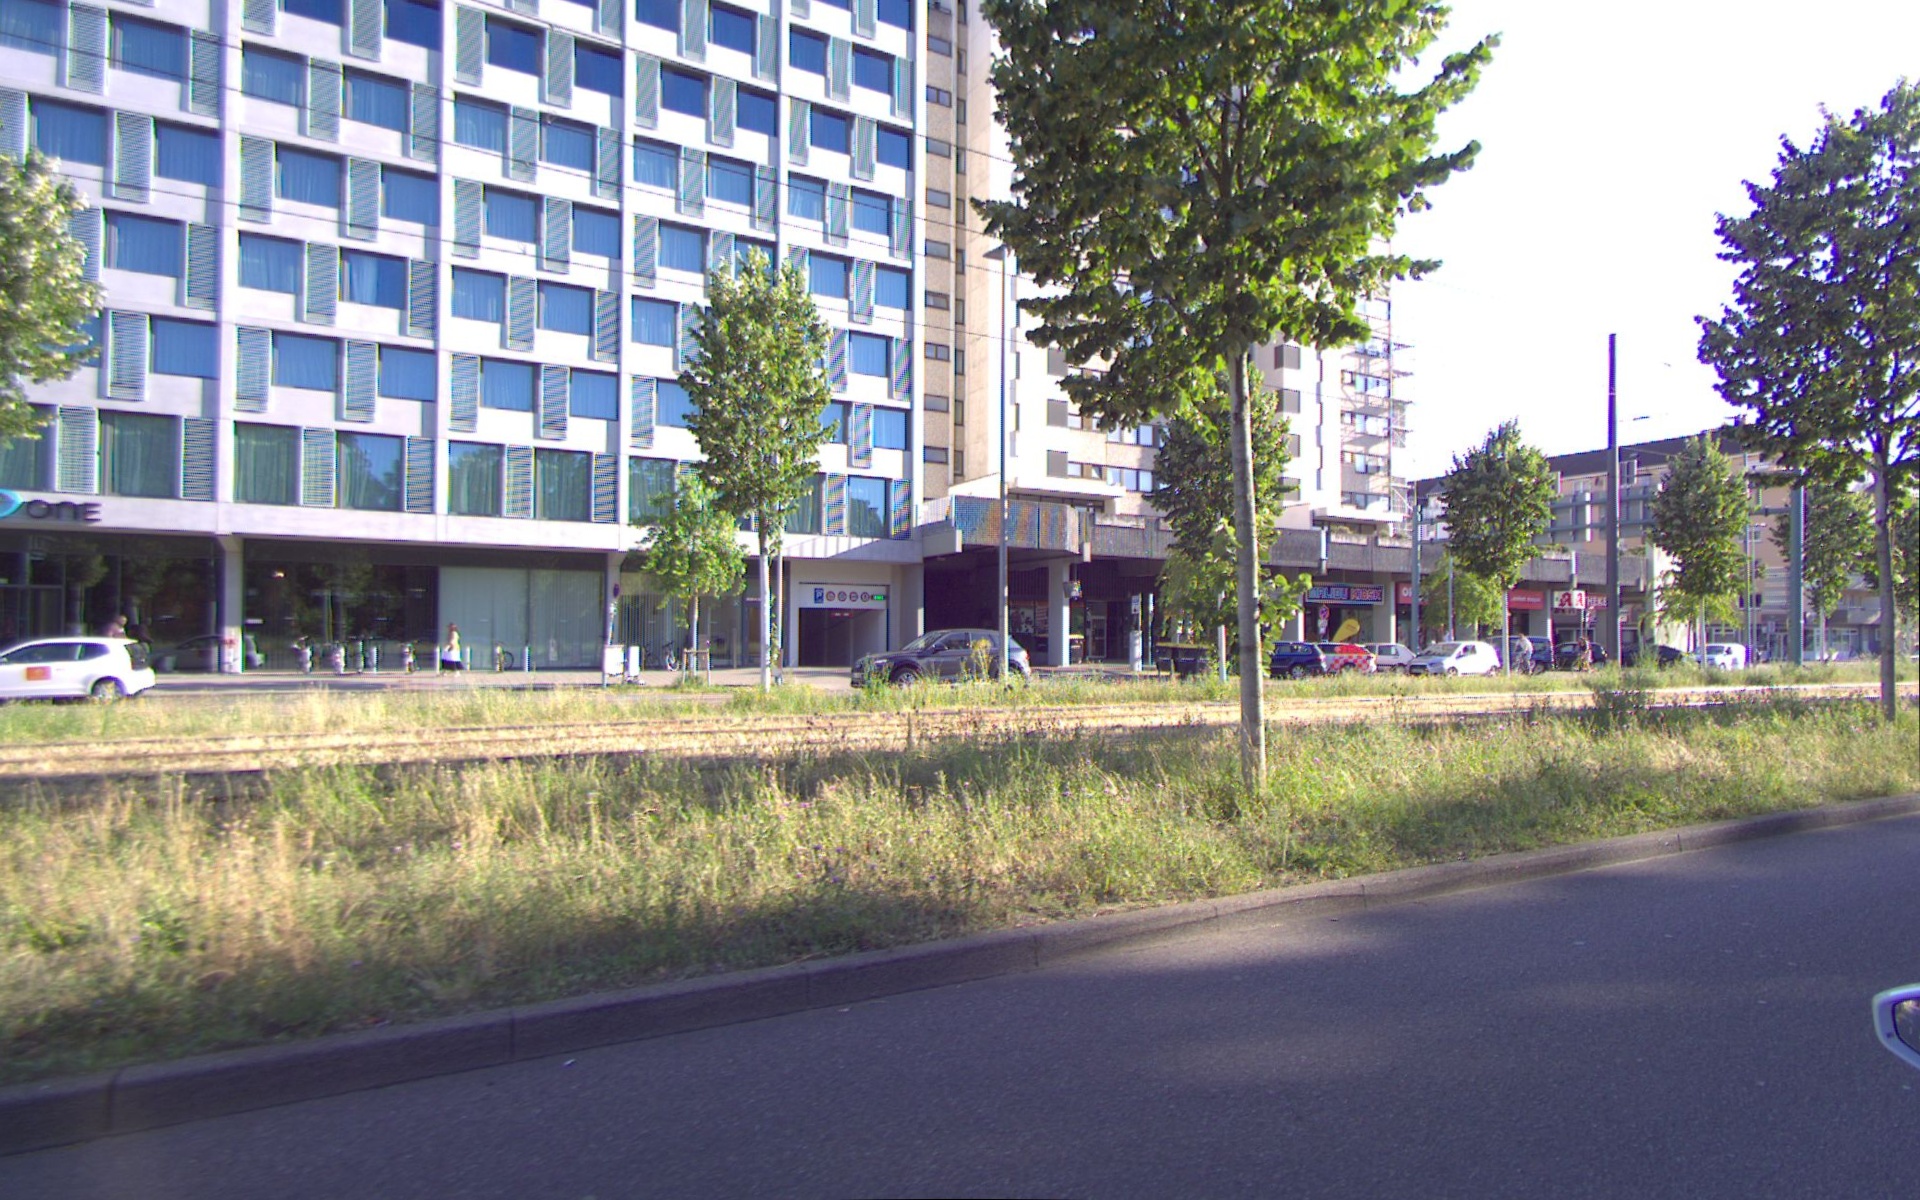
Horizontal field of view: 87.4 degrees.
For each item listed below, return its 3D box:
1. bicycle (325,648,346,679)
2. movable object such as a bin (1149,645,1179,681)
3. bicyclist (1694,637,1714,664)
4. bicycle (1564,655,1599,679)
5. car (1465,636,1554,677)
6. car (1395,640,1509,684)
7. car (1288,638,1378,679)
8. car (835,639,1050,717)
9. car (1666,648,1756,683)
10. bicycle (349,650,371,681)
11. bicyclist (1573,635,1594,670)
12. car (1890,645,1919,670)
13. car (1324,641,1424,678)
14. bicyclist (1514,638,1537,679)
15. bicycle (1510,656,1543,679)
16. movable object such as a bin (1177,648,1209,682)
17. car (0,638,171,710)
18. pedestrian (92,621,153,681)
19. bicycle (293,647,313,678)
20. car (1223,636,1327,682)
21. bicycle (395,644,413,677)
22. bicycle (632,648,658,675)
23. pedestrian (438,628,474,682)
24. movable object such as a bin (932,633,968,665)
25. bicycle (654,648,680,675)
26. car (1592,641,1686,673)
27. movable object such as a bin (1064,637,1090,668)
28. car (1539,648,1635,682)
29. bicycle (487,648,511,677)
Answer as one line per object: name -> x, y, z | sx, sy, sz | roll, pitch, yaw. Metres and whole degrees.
bicycle -> -19.711, 1.991, 31.690 | 0.506, 0.917, 1.793 | 1, -2, -34
movable object such as a bin -> 8.071, 2.489, 39.783 | 0.924, 1.375, 0.858 | 1, -2, -14
bicyclist -> 39.220, 2.658, 52.932 | 0.751, 1.373, 0.589 | 1, -1, -31
bicycle -> 28.634, 3.094, 46.241 | 1.768, 1.053, 0.552 | 1, -1, -28
car -> 27.369, 2.785, 50.114 | 3.686, 1.853, 1.824 | 1, -1, 22
car -> 18.472, 2.300, 37.687 | 3.948, 1.535, 1.879 | 1, -1, -27
car -> 16.180, 2.523, 43.577 | 3.555, 1.543, 1.620 | 2, 0, 21
car -> -0.394, 1.849, 24.809 | 5.023, 1.711, 1.879 | 1, -1, -27
car -> 35.611, 3.055, 47.598 | 3.948, 1.535, 1.879 | 1, -1, -27
bicycle -> -19.182, 2.077, 32.097 | 0.506, 0.917, 1.793 | 1, -2, -34
bicyclist -> 28.712, 2.403, 46.267 | 0.673, 1.565, 0.549 | 1, -1, -27
car -> 57.070, 3.388, 59.540 | 3.645, 1.415, 1.924 | 1, -2, -31
car -> 18.571, 2.657, 45.239 | 3.919, 1.472, 1.788 | 1, -1, 14
bicyclist -> 25.640, 2.642, 45.547 | 0.848, 1.812, 0.537 | 1, -1, -31
bicycle -> 25.724, 3.047, 45.575 | 1.692, 1.006, 0.541 | 1, -1, -31
movable object such as a bin -> 8.985, 2.489, 38.708 | 0.924, 1.297, 0.858 | 1, -2, -14
car -> -20.626, 1.644, 22.885 | 3.822, 1.512, 1.879 | 1, -1, -27
pedestrian -> -24.335, 1.473, 29.202 | 1.042, 1.692, 0.975 | 1, -2, -18
bicycle -> -20.603, 1.958, 31.489 | 0.506, 0.917, 1.793 | 1, -2, -34
car -> 13.172, 2.426, 42.018 | 4.016, 1.622, 1.749 | 2, 1, 21
bicycle -> -18.189, 1.974, 32.873 | 0.477, 0.979, 1.744 | 1, -1, -28
bicycle -> -11.370, 2.198, 36.274 | 0.506, 0.917, 1.795 | 1, -2, -30
pedestrian -> -15.681, 1.700, 31.266 | 0.957, 1.675, 0.840 | 1, -2, -27
movable object such as a bin -> -0.446, 2.255, 46.089 | 1.385, 1.459, 0.937 | 1, -2, -28
bicycle -> -10.665, 2.214, 36.516 | 0.506, 0.917, 1.795 | 1, -2, -30
car -> 37.498, 3.108, 55.554 | 3.921, 1.584, 2.000 | 1, -1, 20
movable object such as a bin -> 5.242, 2.350, 45.045 | 0.857, 1.389, 0.818 | 1, -2, -28
car -> 33.300, 3.425, 53.467 | 3.919, 1.595, 2.001 | 1, -1, 14
bicycle -> -15.446, 2.087, 33.686 | 0.504, 0.917, 1.803 | 1, -2, -17
